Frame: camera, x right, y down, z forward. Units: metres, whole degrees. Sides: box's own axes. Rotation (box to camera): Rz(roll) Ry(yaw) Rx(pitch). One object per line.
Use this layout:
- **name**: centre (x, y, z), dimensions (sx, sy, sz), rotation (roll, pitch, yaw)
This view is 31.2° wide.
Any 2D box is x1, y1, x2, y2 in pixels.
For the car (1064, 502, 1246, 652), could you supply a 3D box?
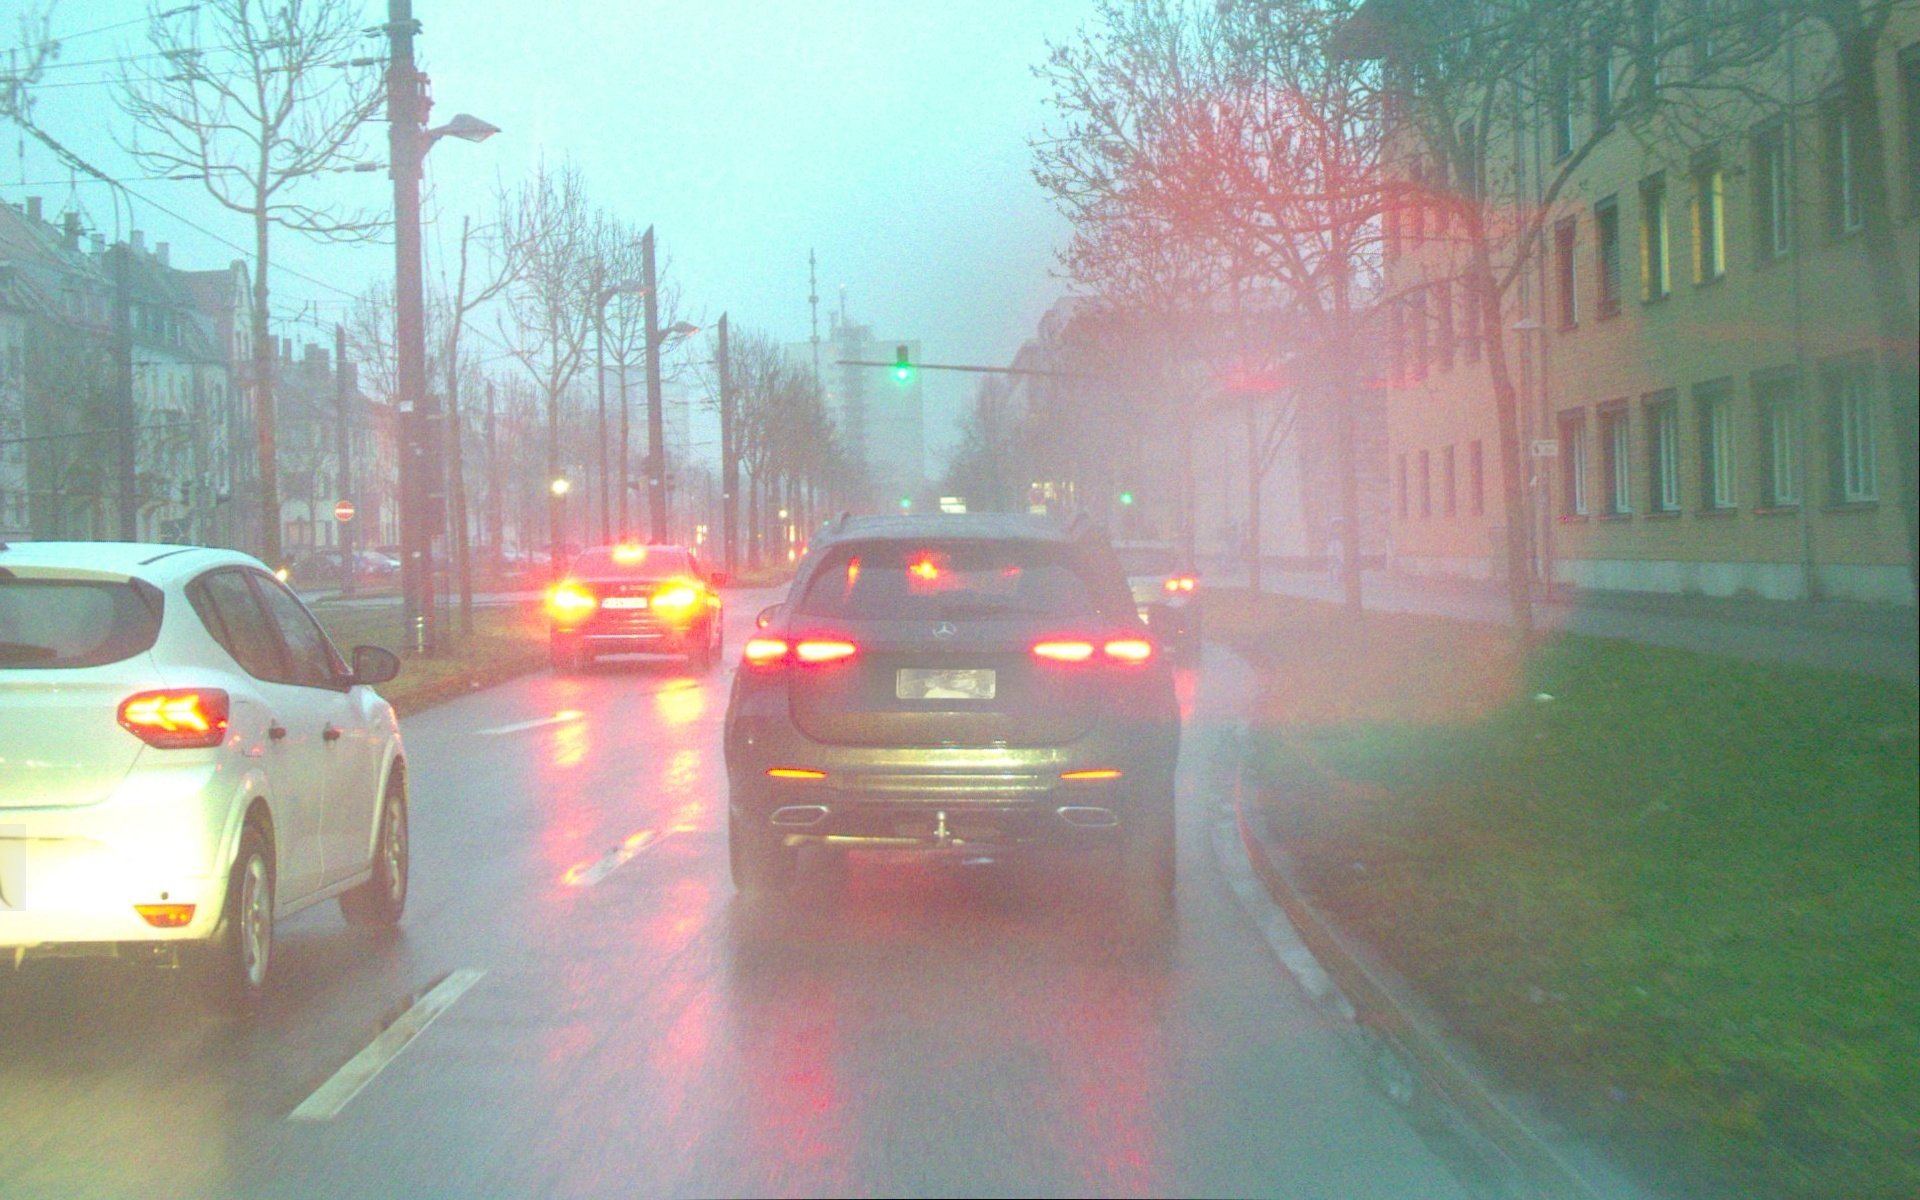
- **car**: centre (2.393, -0.311, 43.144), dimensions (1.993, 1.738, 4.000), rotation (-2, 1, 0)

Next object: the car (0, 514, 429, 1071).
- **car**: centre (-2.981, 0.523, 11.902), dimensions (1.672, 1.594, 4.054), rotation (-1, 1, 0)

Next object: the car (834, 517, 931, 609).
- **car**: centre (-1.377, -0.683, 61.958), dimensions (1.672, 1.594, 4.054), rotation (-1, 1, 0)

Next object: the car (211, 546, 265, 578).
- **car**: centre (-33.245, -1.764, 158.332), dimensions (1.776, 1.349, 3.557), rotation (-2, 2, -2)

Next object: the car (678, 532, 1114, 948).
- **car**: centre (-0.262, 0.506, 15.331), dimensions (1.672, 1.594, 4.054), rotation (-1, 1, 0)

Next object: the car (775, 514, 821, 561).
- **car**: centre (-7.282, -2.818, 154.769), dimensions (1.816, 2.007, 4.000), rotation (-2, 1, 0)

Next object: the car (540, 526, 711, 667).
- **car**: centre (-3.974, -0.076, 41.354), dimensions (1.672, 1.594, 4.054), rotation (-1, 1, 0)

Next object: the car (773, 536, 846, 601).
- **car**: centre (-4.508, -0.953, 103.166), dimensions (1.941, 1.831, 4.000), rotation (-2, 1, 0)
